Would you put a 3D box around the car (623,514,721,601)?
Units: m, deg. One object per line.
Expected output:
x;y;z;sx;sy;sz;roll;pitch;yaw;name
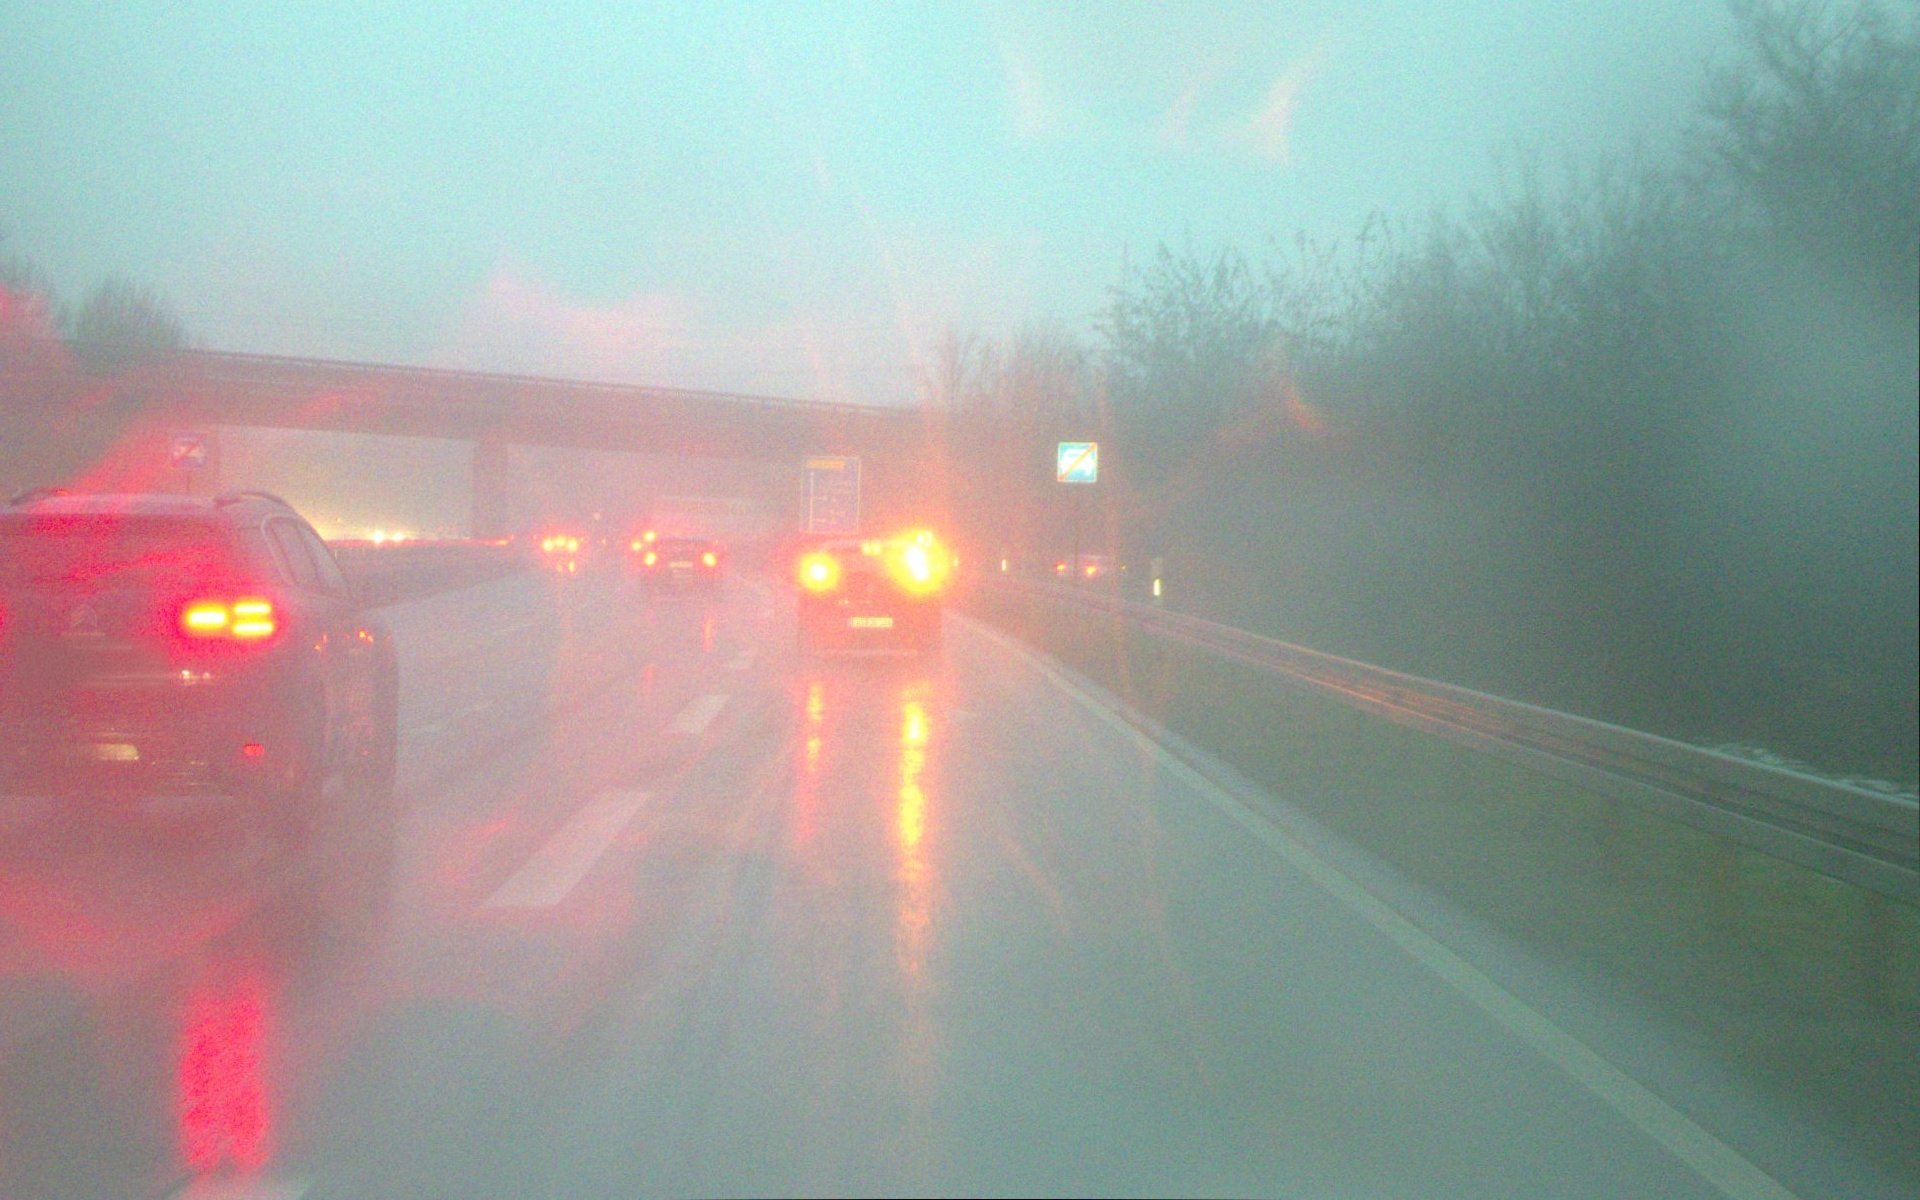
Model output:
-6.065;-0.925;72.674;1.878;1.611;3.875;2;3;-3;car

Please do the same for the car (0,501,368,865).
-4.153;0.338;17.714;1.993;1.659;4.001;0;1;-7;car

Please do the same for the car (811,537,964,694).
-0.864;0.145;41.722;1.732;1.424;3.767;2;6;-1;car
